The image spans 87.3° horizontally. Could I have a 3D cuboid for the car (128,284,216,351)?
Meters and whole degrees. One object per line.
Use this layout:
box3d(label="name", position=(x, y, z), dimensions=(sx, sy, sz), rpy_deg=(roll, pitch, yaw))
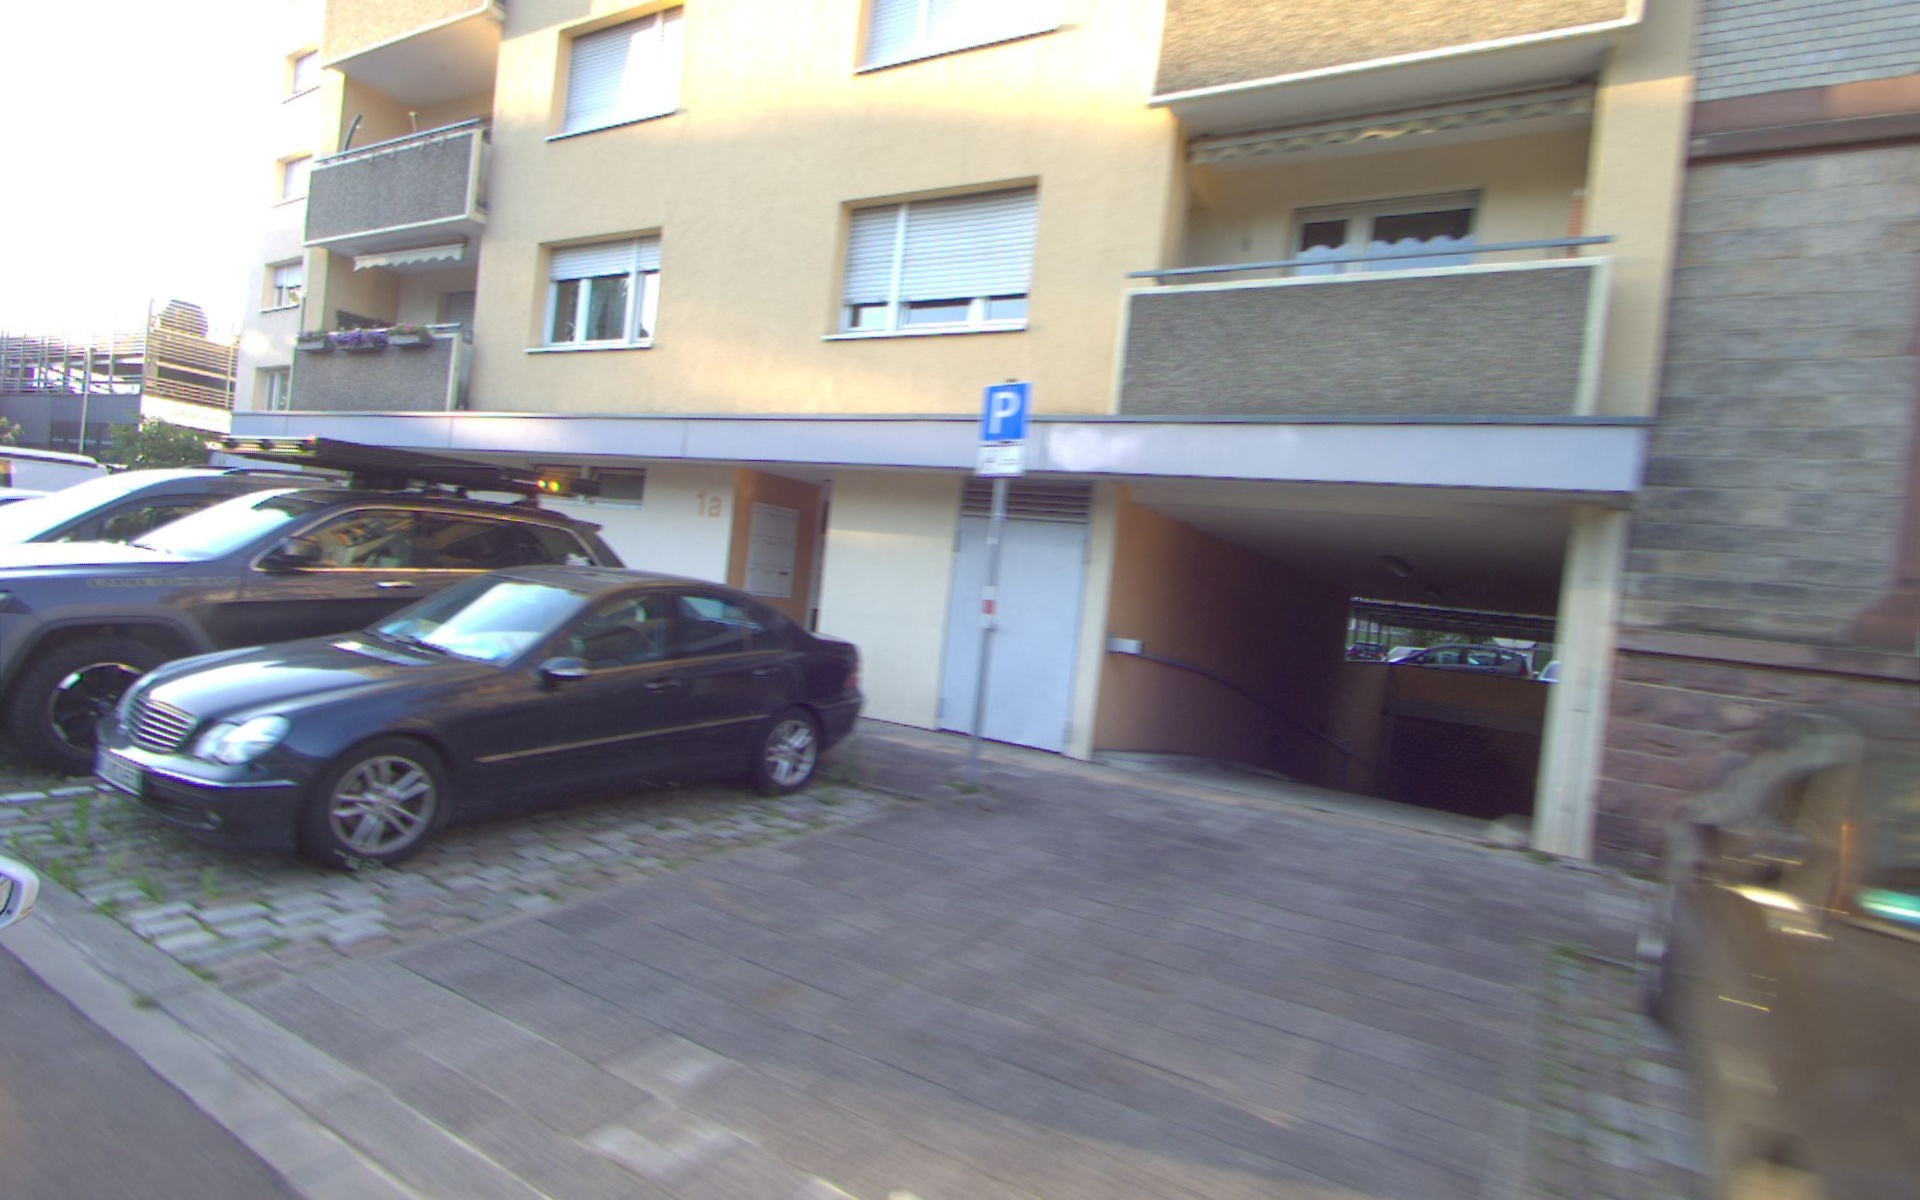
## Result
box3d(label="car", position=(-35.095, -12.509, 44.788), dimensions=(3.939, 2.038, 1.994), rpy_deg=(6, -1, 37))

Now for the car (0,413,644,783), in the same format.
box3d(label="car", position=(-4.716, -0.004, 7.168), dimensions=(1.815, 1.887, 4.515), rpy_deg=(7, 1, 31))

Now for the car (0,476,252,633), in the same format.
box3d(label="car", position=(-10.783, -0.546, 11.144), dimensions=(1.815, 1.613, 4.406), rpy_deg=(5, 0, 31))

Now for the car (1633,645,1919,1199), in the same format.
box3d(label="car", position=(2.895, 0.988, 2.462), dimensions=(1.816, 1.573, 4.405), rpy_deg=(5, 0, 32))

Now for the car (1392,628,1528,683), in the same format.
box3d(label="car", position=(25.762, 2.826, 51.914), dimensions=(5.959, 2.038, 1.996), rpy_deg=(6, -1, 32))

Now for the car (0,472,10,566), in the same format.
box3d(label="car", position=(-19.033, -1.542, 16.689), dimensions=(1.814, 1.683, 4.406), rpy_deg=(5, 1, 29))

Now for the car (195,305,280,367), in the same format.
box3d(label="car", position=(-33.740, -12.265, 46.970), dimensions=(3.939, 2.038, 1.994), rpy_deg=(6, -1, 37))

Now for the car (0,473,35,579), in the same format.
box3d(label="car", position=(-17.007, -1.277, 15.057), dimensions=(1.751, 1.683, 4.328), rpy_deg=(5, 1, 29))

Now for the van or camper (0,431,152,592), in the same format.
box3d(label="van or camper", position=(-14.540, -1.317, 13.702), dimensions=(2.006, 2.198, 5.133), rpy_deg=(6, 3, 29))

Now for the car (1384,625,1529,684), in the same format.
box3d(label="car", position=(23.855, 2.616, 48.464), dimensions=(5.959, 2.038, 1.996), rpy_deg=(6, -1, 32))

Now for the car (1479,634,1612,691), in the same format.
box3d(label="car", position=(25.540, 2.715, 44.004), dimensions=(4.758, 1.855, 1.996), rpy_deg=(6, -1, 32))

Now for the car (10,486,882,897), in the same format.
box3d(label="car", position=(-2.594, 0.397, 6.191), dimensions=(1.816, 1.573, 4.404), rpy_deg=(5, 0, 33))

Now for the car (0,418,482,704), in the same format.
box3d(label="car", position=(-6.847, -0.271, 8.648), dimensions=(1.815, 2.006, 4.640), rpy_deg=(5, 0, 31))

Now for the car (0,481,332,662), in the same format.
box3d(label="car", position=(-8.872, -0.280, 9.692), dimensions=(1.815, 1.583, 4.406), rpy_deg=(5, 0, 31))

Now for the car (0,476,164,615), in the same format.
box3d(label="car", position=(-12.846, -0.770, 12.373), dimensions=(1.815, 1.652, 4.406), rpy_deg=(5, 0, 31))
